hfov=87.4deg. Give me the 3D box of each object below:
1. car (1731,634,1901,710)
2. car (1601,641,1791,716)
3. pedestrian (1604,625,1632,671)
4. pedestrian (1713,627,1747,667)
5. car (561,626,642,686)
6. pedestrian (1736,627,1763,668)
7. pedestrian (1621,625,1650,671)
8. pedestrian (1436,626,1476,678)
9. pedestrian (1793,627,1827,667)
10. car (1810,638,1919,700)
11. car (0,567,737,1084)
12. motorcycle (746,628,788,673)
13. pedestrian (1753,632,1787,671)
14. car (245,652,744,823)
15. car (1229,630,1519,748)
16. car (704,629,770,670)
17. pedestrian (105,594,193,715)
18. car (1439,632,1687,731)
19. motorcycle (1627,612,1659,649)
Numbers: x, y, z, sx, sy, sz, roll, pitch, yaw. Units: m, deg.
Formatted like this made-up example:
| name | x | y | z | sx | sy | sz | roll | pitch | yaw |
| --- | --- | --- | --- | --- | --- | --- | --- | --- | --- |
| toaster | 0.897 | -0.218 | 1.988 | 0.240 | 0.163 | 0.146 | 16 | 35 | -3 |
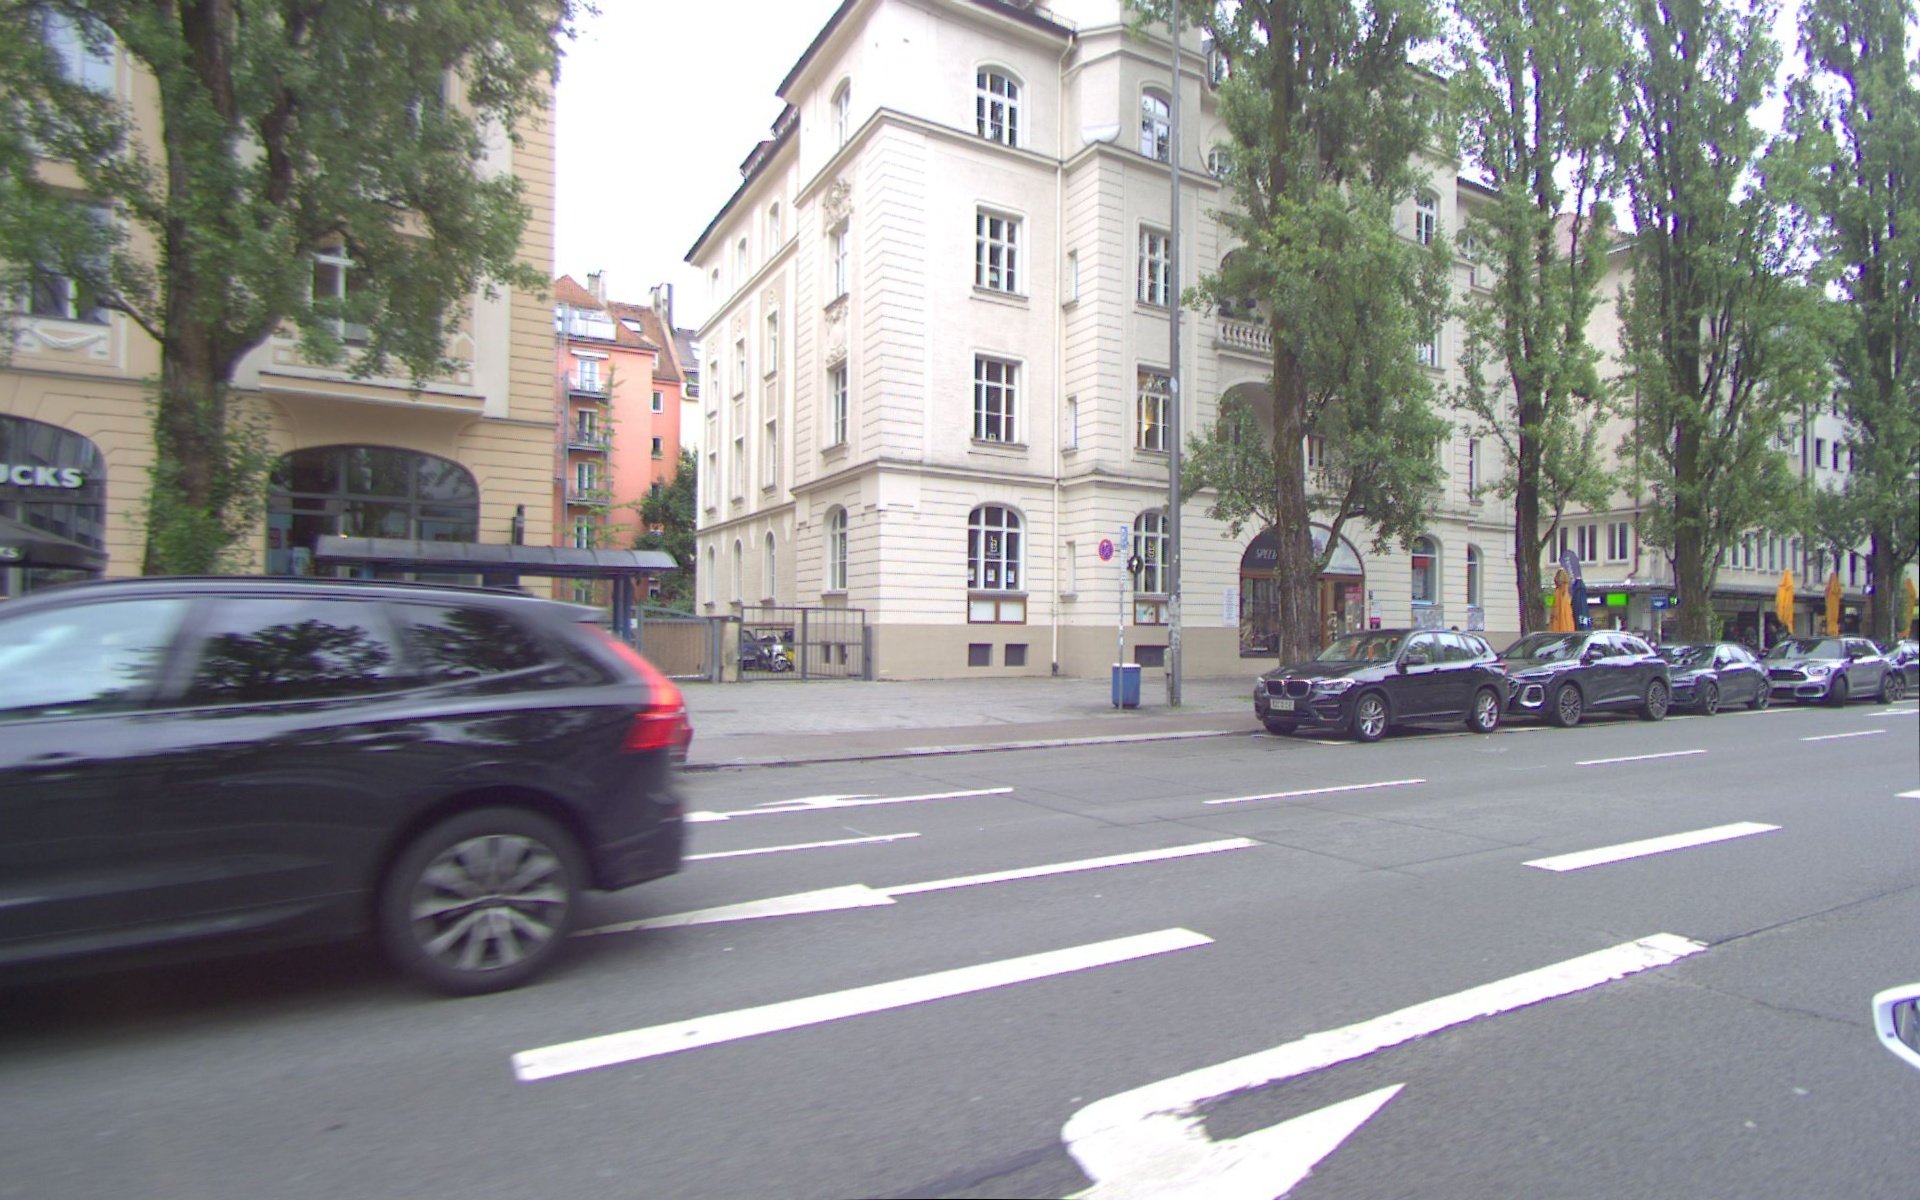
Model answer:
| name | x | y | z | sx | sy | sz | roll | pitch | yaw |
| --- | --- | --- | --- | --- | --- | --- | --- | --- | --- |
| car | 19.951 | 1.616 | 23.383 | 4.083 | 1.596 | 1.774 | 1 | -1 | -30 |
| car | 15.538 | 1.597 | 21.134 | 4.638 | 1.442 | 1.675 | 2 | -4 | -33 |
| pedestrian | 25.503 | 1.862 | 38.941 | 0.817 | 1.744 | 0.622 | 1 | -2 | -31 |
| pedestrian | 35.168 | 2.140 | 45.890 | 1.134 | 1.768 | 0.848 | 1 | -1 | -29 |
| car | -10.555 | 1.590 | 29.436 | 1.699 | 1.595 | 3.720 | 1 | -1 | -28 |
| pedestrian | 33.638 | 2.021 | 42.816 | 0.817 | 1.744 | 0.622 | 1 | -2 | -29 |
| pedestrian | 25.811 | 1.827 | 38.384 | 0.817 | 1.744 | 0.622 | 1 | -2 | -31 |
| pedestrian | 15.315 | 1.603 | 31.003 | 0.795 | 1.558 | 0.765 | 2 | 0 | -30 |
| pedestrian | 38.920 | 2.142 | 45.987 | 1.134 | 1.767 | 0.848 | 1 | -1 | -29 |
| car | 24.269 | 1.775 | 26.276 | 4.260 | 1.524 | 1.657 | 1 | -4 | -29 |
| car | -3.308 | 0.770 | 4.193 | 4.285 | 1.644 | 1.926 | 1 | -3 | -30 |
| motorcycle | -6.171 | 1.583 | 32.004 | 0.631 | 1.390 | 2.390 | 1 | -1 | -29 |
| pedestrian | 37.779 | 2.401 | 46.848 | 1.134 | 1.767 | 0.848 | 1 | -1 | -29 |
| car | -4.350 | 1.190 | 9.838 | 4.042 | 1.315 | 1.872 | 1 | -2 | -28 |
| car | 6.607 | 1.310 | 15.889 | 4.660 | 1.639 | 1.812 | 1 | -2 | -30 |
| car | -7.707 | 1.677 | 34.540 | 1.397 | 1.326 | 3.147 | 1 | -1 | -28 |
| pedestrian | -12.339 | 0.817 | 15.313 | 0.809 | 1.767 | 0.903 | 1 | -1 | -24 |
| car | 11.085 | 1.420 | 18.413 | 4.572 | 1.615 | 1.796 | 1 | -3 | -28 |
| motorcycle | 21.771 | 0.986 | 32.002 | 1.802 | 1.154 | 0.471 | 2 | -2 | -44 |
